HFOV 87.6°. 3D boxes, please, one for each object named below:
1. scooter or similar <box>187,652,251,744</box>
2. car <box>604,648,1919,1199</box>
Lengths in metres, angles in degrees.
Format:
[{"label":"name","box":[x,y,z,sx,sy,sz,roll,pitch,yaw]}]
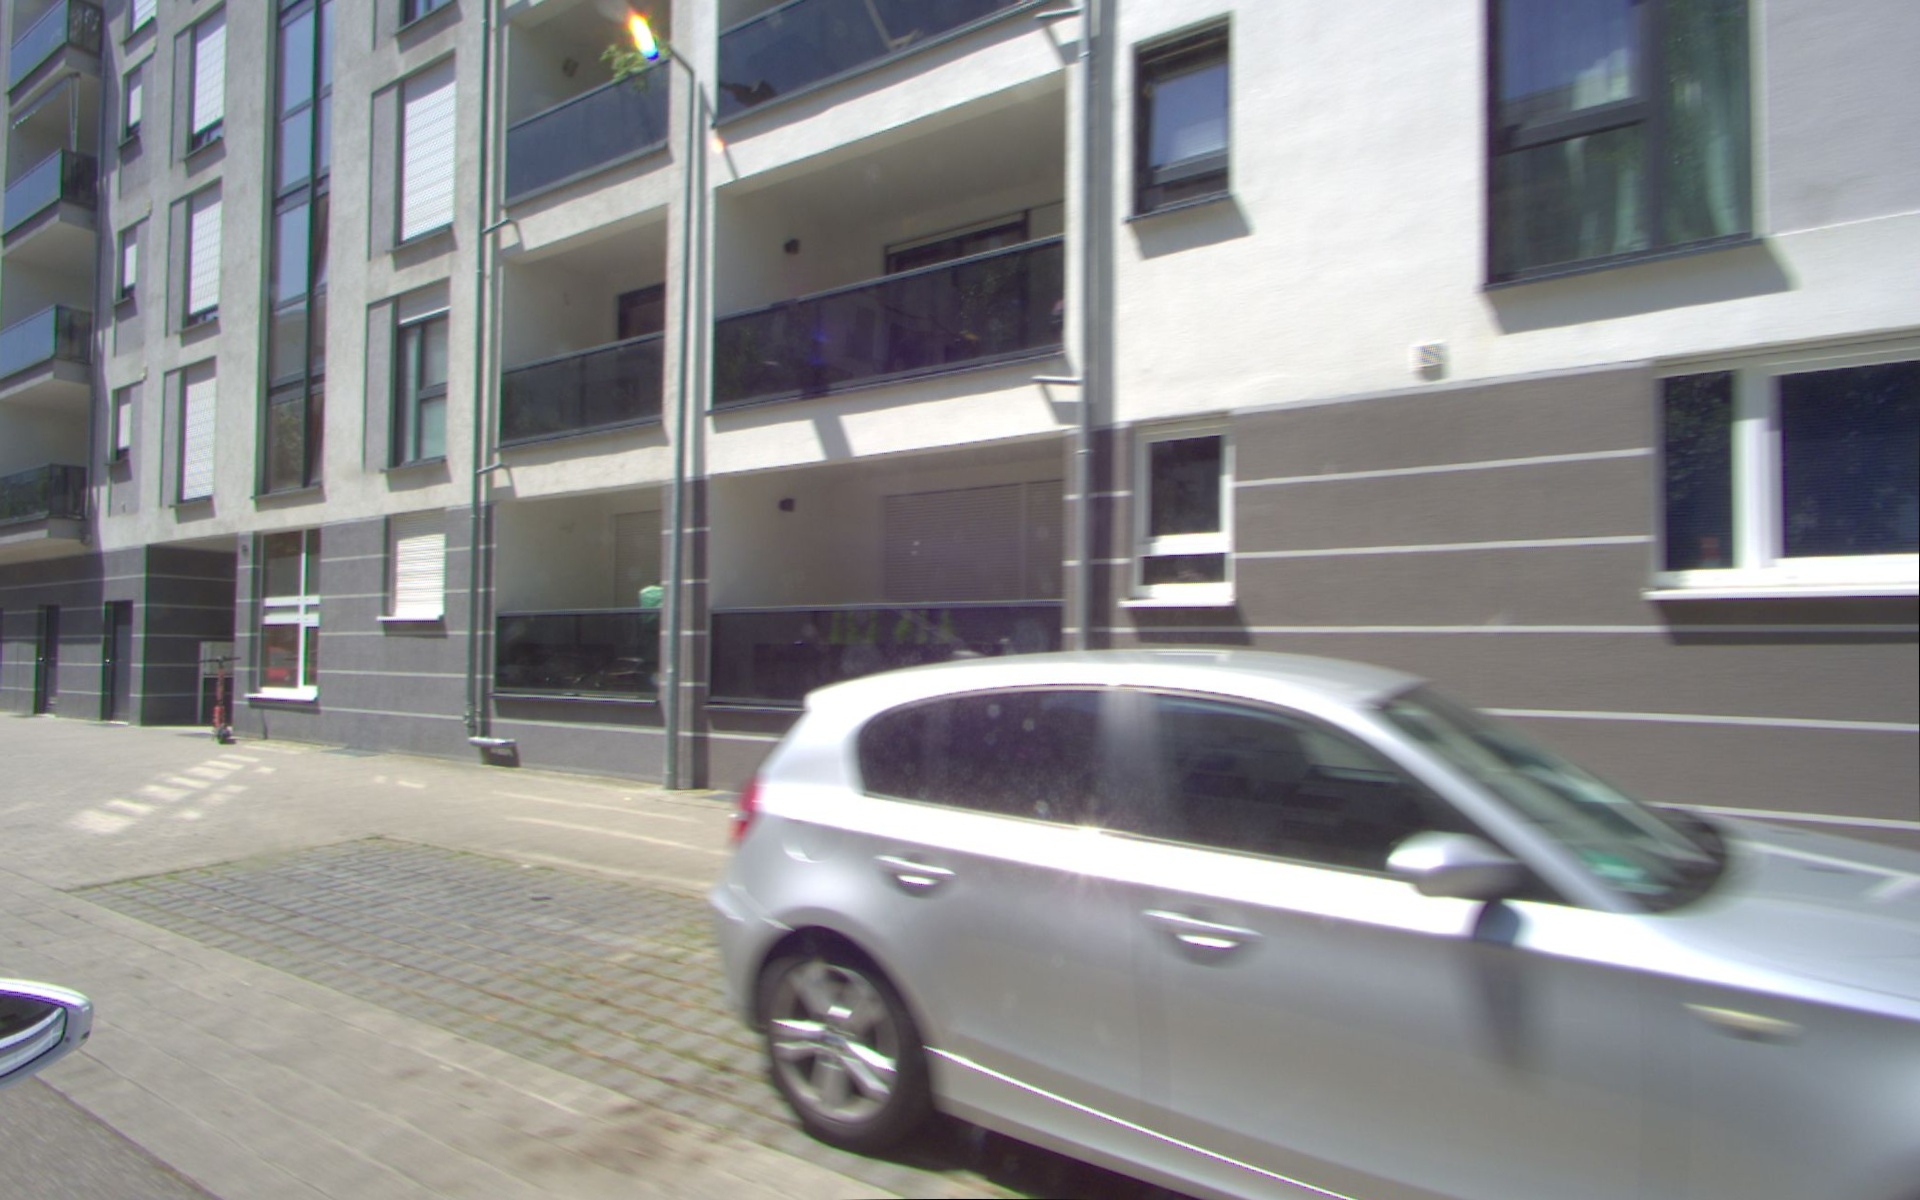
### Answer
[{"label":"scooter or similar","box":[-10.684,1.381,14.426,0.542,1.240,1.515,4,-4,-42]},{"label":"car","box":[1.146,0.877,2.906,4.364,1.433,1.843,-2,-4,33]}]
